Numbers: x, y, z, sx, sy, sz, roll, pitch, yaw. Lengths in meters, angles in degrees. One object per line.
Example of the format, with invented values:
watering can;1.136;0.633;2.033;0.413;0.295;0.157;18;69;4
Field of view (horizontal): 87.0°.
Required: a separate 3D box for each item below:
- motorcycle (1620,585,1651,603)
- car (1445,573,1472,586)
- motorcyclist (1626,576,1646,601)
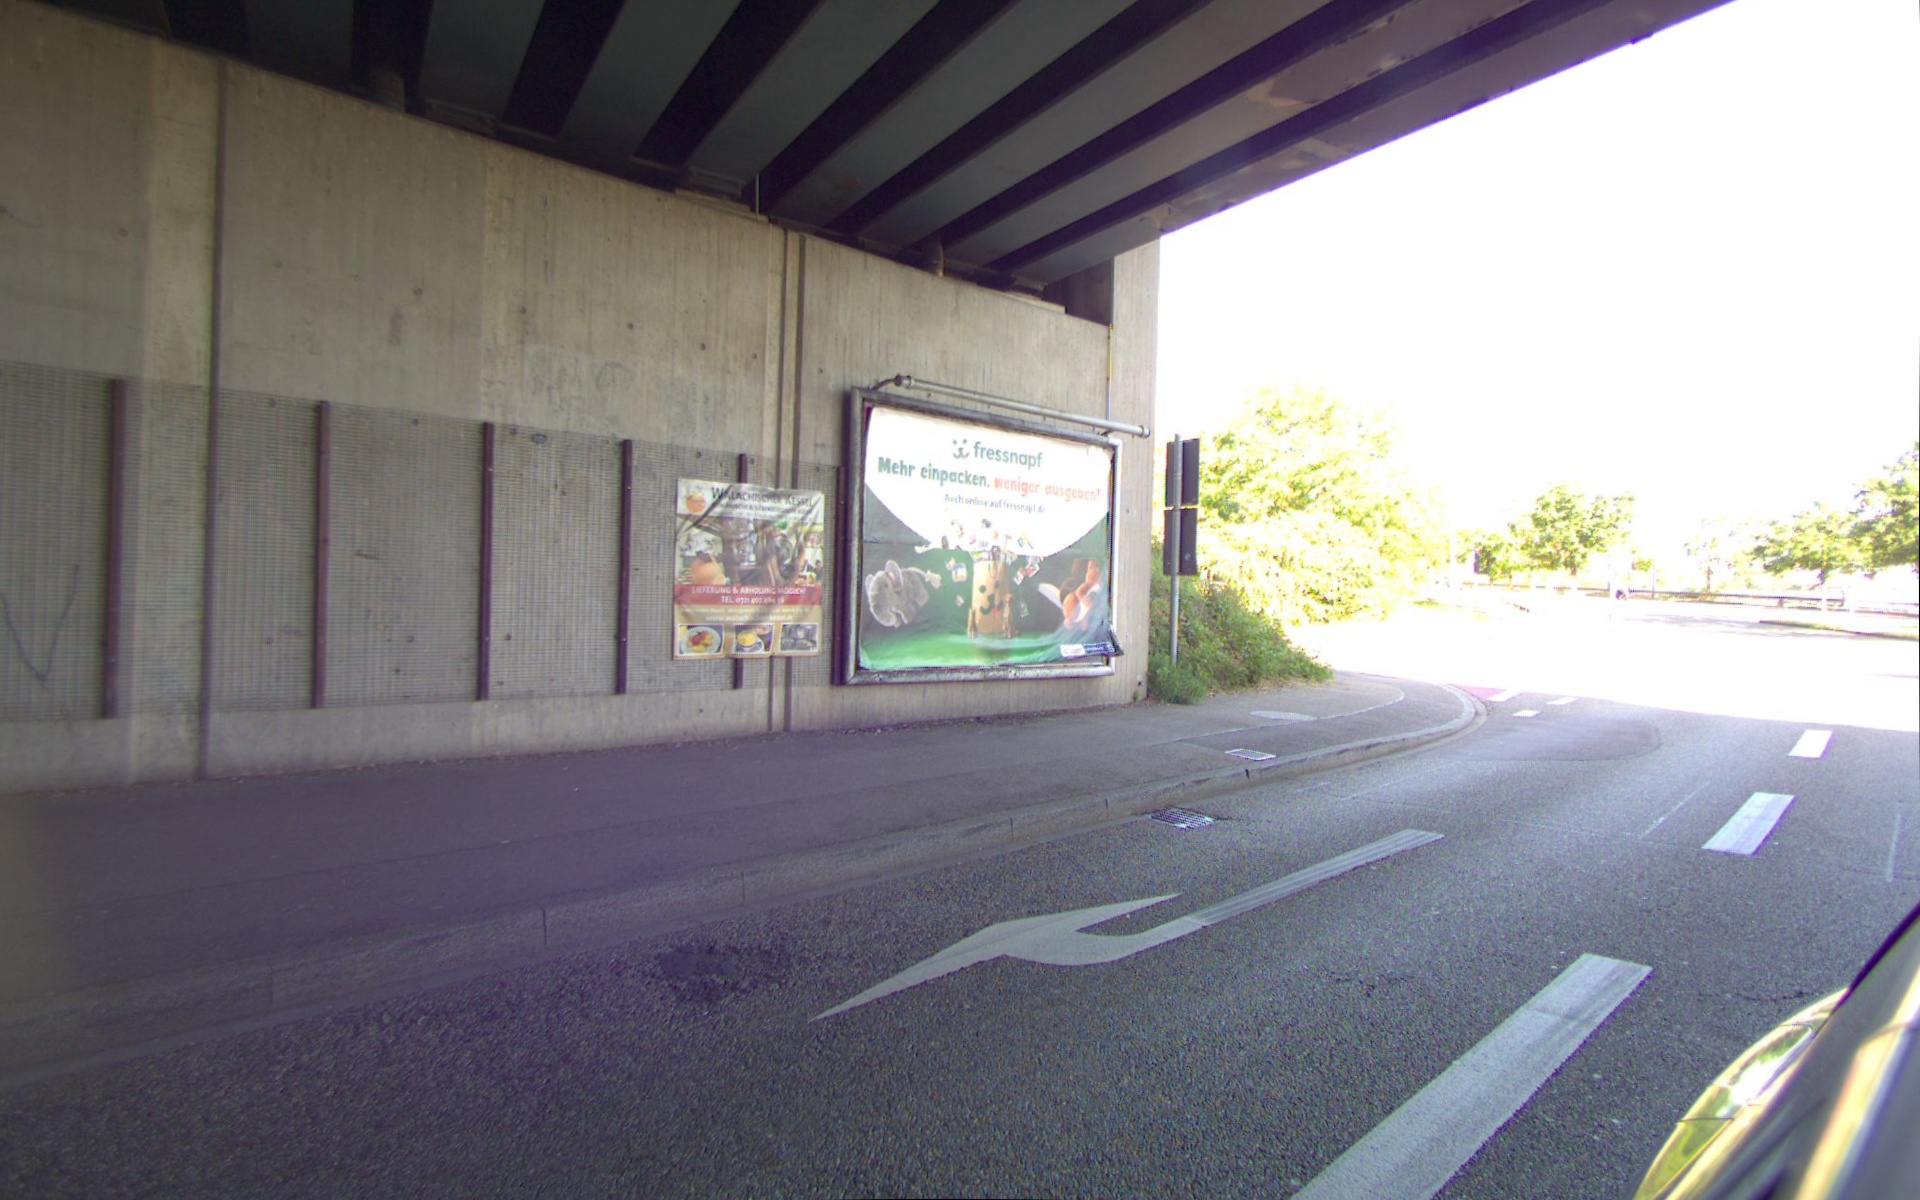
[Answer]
motorcycle;62.386;-0.580;93.457;1.090;1.681;3.148;0;0;8
car;60.056;-2.475;122.002;1.710;1.438;4.307;2;0;9
motorcyclist;62.377;-1.032;93.396;1.090;2.269;1.180;0;0;8
